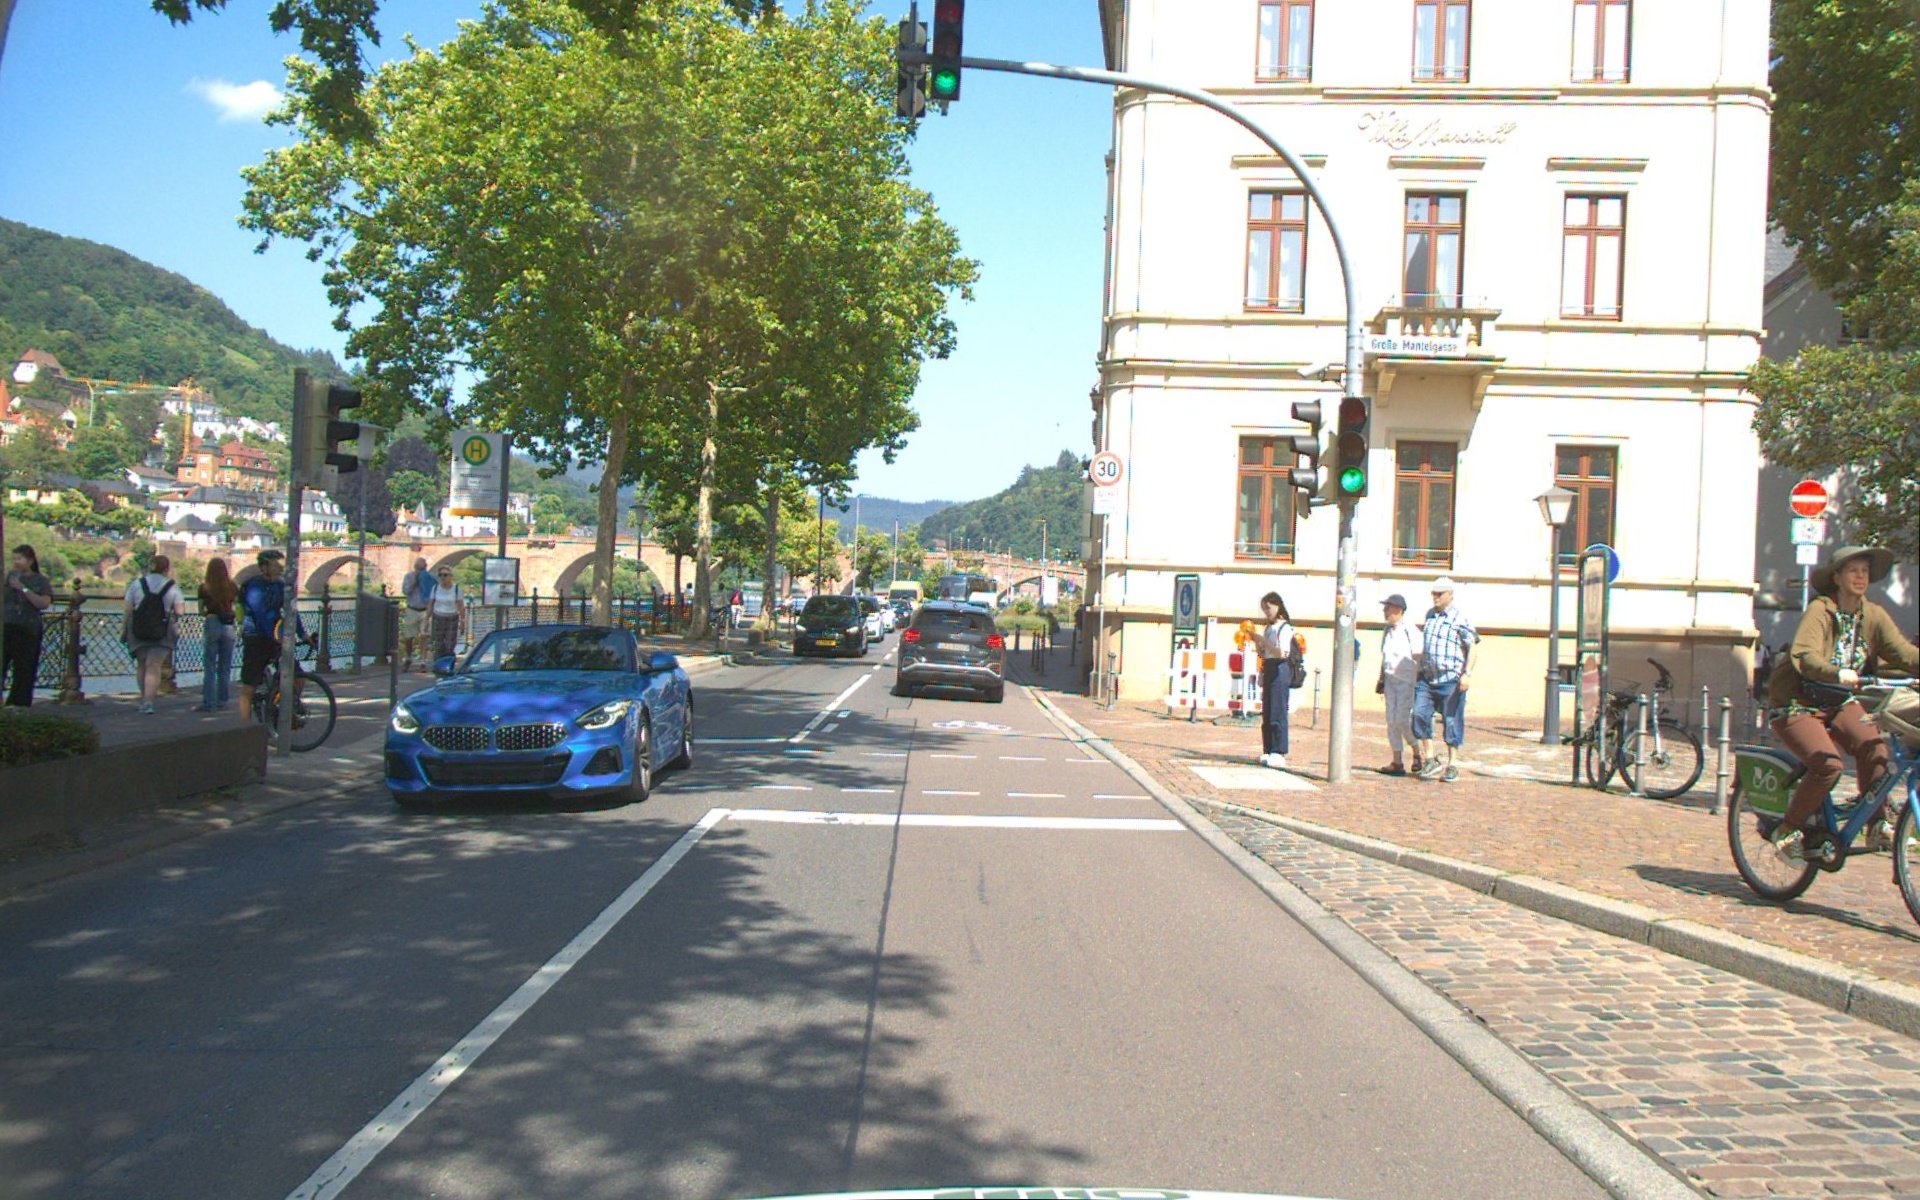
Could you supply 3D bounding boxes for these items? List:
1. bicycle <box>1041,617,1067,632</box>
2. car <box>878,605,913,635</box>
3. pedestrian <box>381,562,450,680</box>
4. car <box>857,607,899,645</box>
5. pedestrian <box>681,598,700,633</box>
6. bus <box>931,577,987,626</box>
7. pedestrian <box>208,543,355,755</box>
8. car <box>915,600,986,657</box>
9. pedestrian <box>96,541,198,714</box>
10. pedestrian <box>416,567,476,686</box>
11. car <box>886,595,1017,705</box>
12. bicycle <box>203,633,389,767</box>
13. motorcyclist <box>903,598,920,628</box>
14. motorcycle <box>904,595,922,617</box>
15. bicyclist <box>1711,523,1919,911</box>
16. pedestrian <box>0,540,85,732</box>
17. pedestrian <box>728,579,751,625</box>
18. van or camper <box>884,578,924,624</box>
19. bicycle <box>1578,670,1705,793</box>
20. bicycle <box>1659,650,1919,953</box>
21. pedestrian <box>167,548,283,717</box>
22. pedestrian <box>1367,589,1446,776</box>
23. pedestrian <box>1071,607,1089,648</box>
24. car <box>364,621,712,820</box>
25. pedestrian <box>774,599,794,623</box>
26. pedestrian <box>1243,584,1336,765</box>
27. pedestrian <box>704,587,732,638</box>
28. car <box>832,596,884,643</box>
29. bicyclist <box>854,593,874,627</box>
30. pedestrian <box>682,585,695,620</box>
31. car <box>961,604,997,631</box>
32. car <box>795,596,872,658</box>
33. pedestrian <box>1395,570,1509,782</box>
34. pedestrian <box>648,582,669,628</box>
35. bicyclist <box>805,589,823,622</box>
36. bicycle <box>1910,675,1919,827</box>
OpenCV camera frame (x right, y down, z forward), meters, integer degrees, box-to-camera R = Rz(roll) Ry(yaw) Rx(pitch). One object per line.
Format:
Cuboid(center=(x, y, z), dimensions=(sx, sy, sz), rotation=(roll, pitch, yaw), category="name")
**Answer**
Cuboid(center=(6.556, 1.740, 115.436), dimensions=(1.772, 0.893, 0.502), rotation=(4, 0, 3), category="bicycle")
Cuboid(center=(-3.343, 1.017, 86.661), dimensions=(1.666, 1.484, 4.001), rotation=(2, -1, 0), category="car")
Cuboid(center=(-8.544, 0.325, 25.968), dimensions=(0.697, 1.795, 0.972), rotation=(2, -1, -1), category="pedestrian")
Cuboid(center=(-3.625, 1.139, 73.970), dimensions=(1.667, 1.470, 4.091), rotation=(4, 1, -1), category="car")
Cuboid(center=(-12.705, 0.728, 78.053), dimensions=(0.679, 1.644, 0.664), rotation=(2, -1, 7), category="pedestrian")
Cuboid(center=(0.028, 0.182, 136.459), dimensions=(2.575, 3.626, 12.992), rotation=(2, -1, 8), category="bus")
Cuboid(center=(-6.181, 0.431, 15.056), dimensions=(1.006, 1.803, 0.765), rotation=(5, 1, 40), category="pedestrian")
Cuboid(center=(-0.240, 0.788, 47.921), dimensions=(1.887, 1.486, 4.832), rotation=(3, 0, 0), category="car")
Cuboid(center=(-8.442, 0.278, 17.198), dimensions=(0.639, 1.743, 0.793), rotation=(1, 0, -1), category="pedestrian")
Cuboid(center=(-7.305, 0.370, 23.547), dimensions=(0.483, 1.645, 0.991), rotation=(2, -1, -1), category="pedestrian")
Cuboid(center=(-0.238, 0.781, 28.142), dimensions=(1.888, 1.580, 4.828), rotation=(4, 0, -3), category="car")
Cuboid(center=(-6.039, 0.885, 14.996), dimensions=(1.798, 0.941, 0.738), rotation=(8, 2, 40), category="bicycle")
Cuboid(center=(-2.701, 0.716, 92.392), dimensions=(0.861, 1.611, 1.024), rotation=(2, -1, -4), category="motorcyclist")
Cuboid(center=(-2.632, 0.338, 92.463), dimensions=(0.866, 1.096, 2.326), rotation=(2, 2, -4), category="motorcycle")
Cuboid(center=(4.048, 0.513, 7.572), dimensions=(0.696, 1.656, 0.885), rotation=(2, -1, -8), category="bicyclist")
Cuboid(center=(-8.718, 0.323, 15.459), dimensions=(0.606, 1.730, 0.695), rotation=(3, -1, -1), category="pedestrian")
Cuboid(center=(-8.431, 0.089, 63.298), dimensions=(0.643, 1.711, 0.758), rotation=(5, -1, -1), category="pedestrian")
Cuboid(center=(-3.395, 0.097, 101.248), dimensions=(2.045, 2.601, 7.091), rotation=(3, -1, 0), category="van or camper")
Cuboid(center=(6.142, 1.176, 14.978), dimensions=(0.497, 1.021, 1.580), rotation=(3, -3, 1), category="bicycle")
Cuboid(center=(4.049, 0.843, 7.457), dimensions=(0.676, 1.149, 2.005), rotation=(2, -1, -8), category="bicycle")
Cuboid(center=(-7.877, 0.347, 17.761), dimensions=(0.818, 1.743, 0.782), rotation=(2, -1, -1), category="pedestrian")
Cuboid(center=(4.294, 0.782, 15.935), dimensions=(0.516, 1.742, 0.665), rotation=(2, -1, -1), category="pedestrian")
Cuboid(center=(5.100, 1.157, 70.158), dimensions=(0.746, 1.744, 0.696), rotation=(0, -1, 2), category="pedestrian")
Cuboid(center=(-3.173, 0.841, 13.331), dimensions=(1.803, 1.292, 4.260), rotation=(-1, 0, -2), category="car")
Cuboid(center=(-10.131, 0.636, 95.117), dimensions=(0.916, 1.303, 0.850), rotation=(2, -1, 8), category="pedestrian")
Cuboid(center=(3.223, 0.716, 16.206), dimensions=(0.701, 1.705, 0.682), rotation=(2, -1, -1), category="pedestrian")
Cuboid(center=(-7.851, 0.405, 53.657), dimensions=(0.746, 1.614, 0.695), rotation=(2, -1, -1), category="pedestrian")
Cuboid(center=(-3.592, 0.661, 57.764), dimensions=(1.701, 1.544, 4.401), rotation=(1, 0, -4), category="car")
Cuboid(center=(-4.644, 0.461, 80.022), dimensions=(0.751, 1.558, 1.025), rotation=(4, 1, 1), category="bicyclist")
Cuboid(center=(-12.752, 0.105, 77.702), dimensions=(0.406, 1.625, 0.451), rotation=(2, -1, 7), category="pedestrian")
Cuboid(center=(1.218, 1.091, 104.062), dimensions=(1.886, 1.580, 4.834), rotation=(1, 0, 4), category="car")
Cuboid(center=(-3.304, 0.694, 43.835), dimensions=(1.666, 1.544, 4.404), rotation=(0, -1, 1), category="car")
Cuboid(center=(4.506, 0.681, 15.158), dimensions=(0.611, 1.884, 0.721), rotation=(3, -1, -37), category="pedestrian")
Cuboid(center=(-13.370, 0.218, 73.351), dimensions=(0.679, 1.979, 0.886), rotation=(2, -1, -1), category="pedestrian")
Cuboid(center=(-7.384, 0.278, 83.819), dimensions=(0.704, 1.611, 1.089), rotation=(2, -1, 1), category="bicyclist")
Cuboid(center=(8.095, 1.195, 12.247), dimensions=(1.757, 1.129, 0.563), rotation=(4, 0, -2), category="bicycle")
